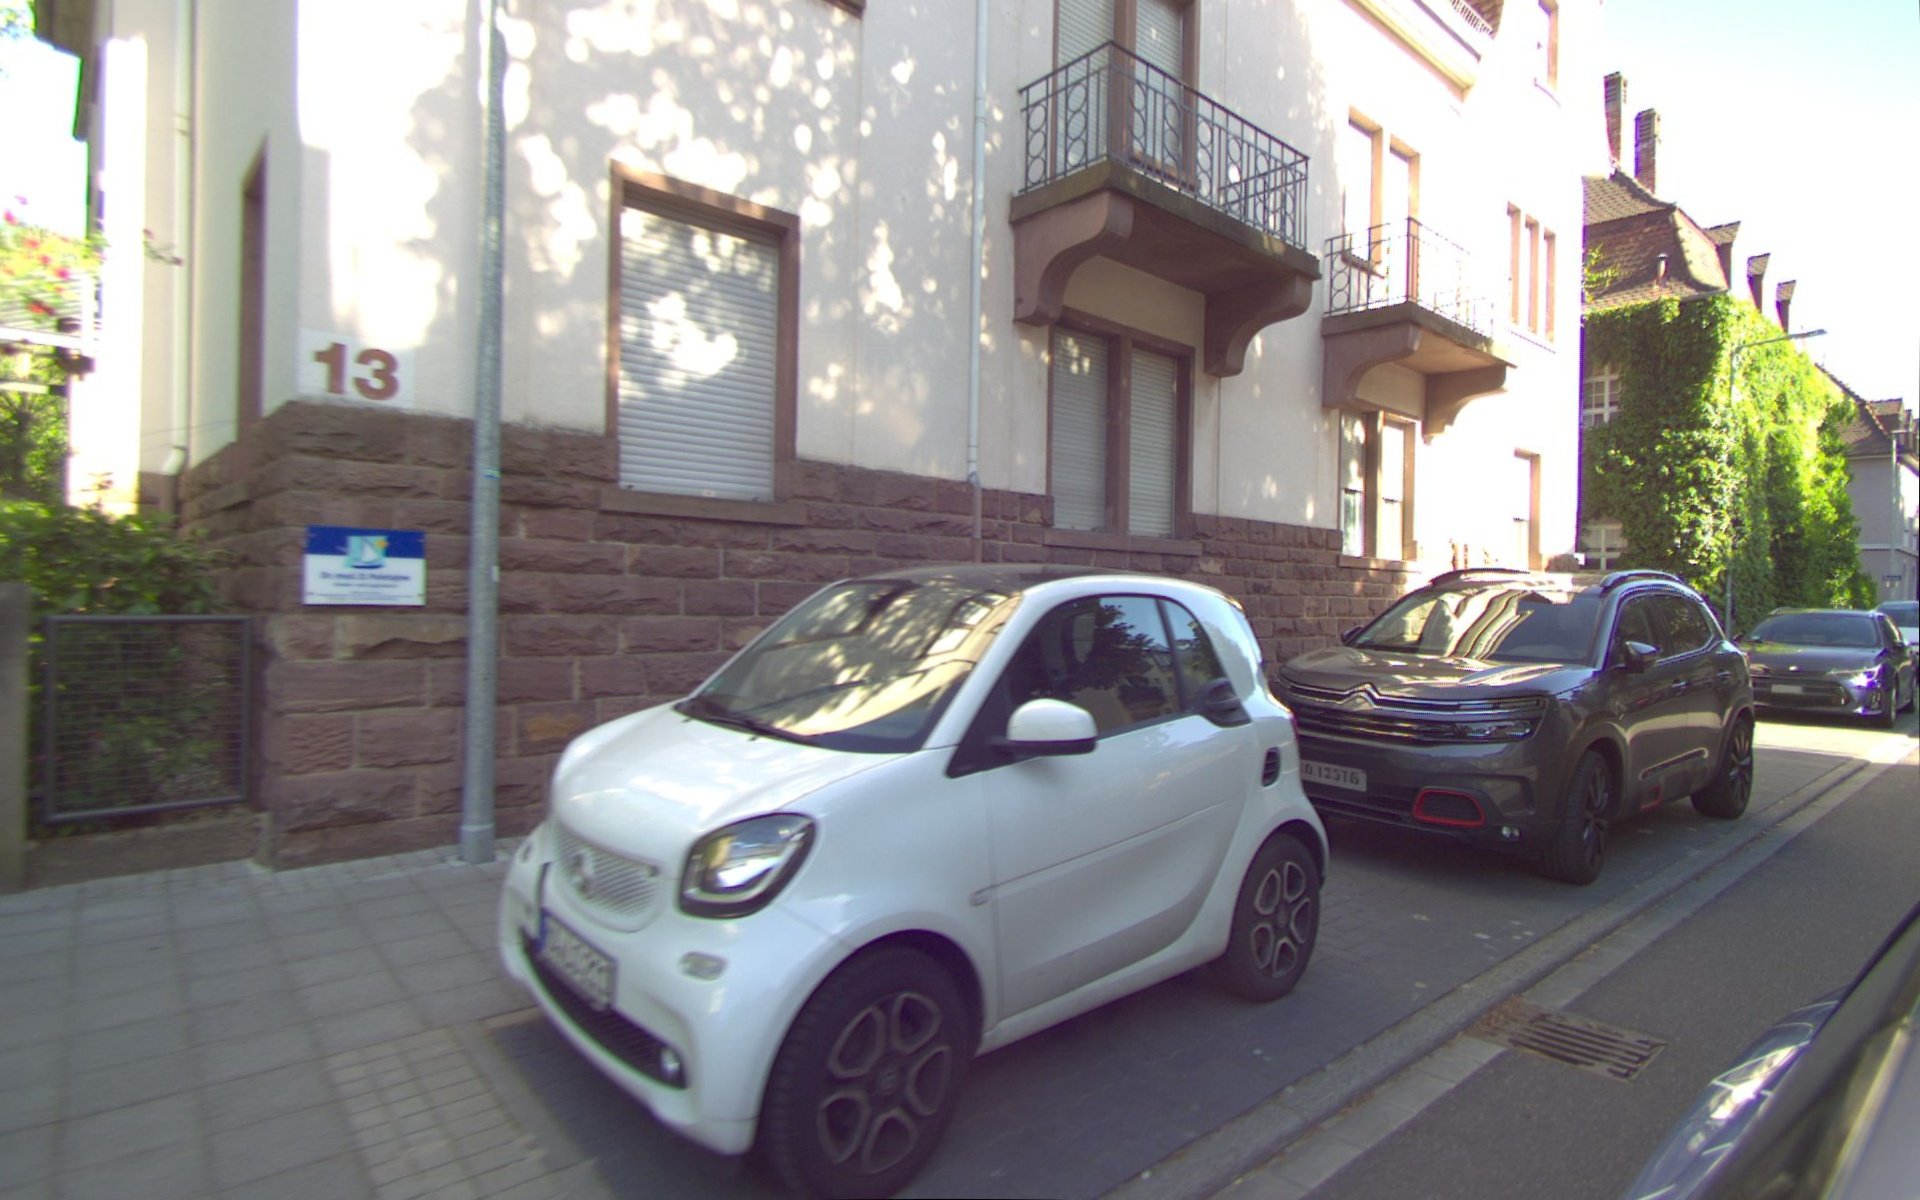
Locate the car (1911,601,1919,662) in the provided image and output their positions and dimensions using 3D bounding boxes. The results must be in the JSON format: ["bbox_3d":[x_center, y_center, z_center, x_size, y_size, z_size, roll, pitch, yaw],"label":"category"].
[{"bbox_3d":[24.886,0.771,25.018,3.939,1.439,1.639,0,1,-41],"label":"car"}]

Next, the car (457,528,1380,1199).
[{"bbox_3d":[-0.001,0.621,3.530,2.820,1.569,1.627,-1,0,-41],"label":"car"}]

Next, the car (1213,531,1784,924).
[{"bbox_3d":[3.651,0.534,6.496,4.245,1.718,1.781,-1,-1,-41],"label":"car"}]

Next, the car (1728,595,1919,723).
[{"bbox_3d":[11.990,0.674,13.741,4.424,1.472,1.646,0,0,-41],"label":"car"}]

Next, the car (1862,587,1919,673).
[{"bbox_3d":[20.461,0.601,21.144,4.125,1.665,1.871,0,1,-41],"label":"car"}]
